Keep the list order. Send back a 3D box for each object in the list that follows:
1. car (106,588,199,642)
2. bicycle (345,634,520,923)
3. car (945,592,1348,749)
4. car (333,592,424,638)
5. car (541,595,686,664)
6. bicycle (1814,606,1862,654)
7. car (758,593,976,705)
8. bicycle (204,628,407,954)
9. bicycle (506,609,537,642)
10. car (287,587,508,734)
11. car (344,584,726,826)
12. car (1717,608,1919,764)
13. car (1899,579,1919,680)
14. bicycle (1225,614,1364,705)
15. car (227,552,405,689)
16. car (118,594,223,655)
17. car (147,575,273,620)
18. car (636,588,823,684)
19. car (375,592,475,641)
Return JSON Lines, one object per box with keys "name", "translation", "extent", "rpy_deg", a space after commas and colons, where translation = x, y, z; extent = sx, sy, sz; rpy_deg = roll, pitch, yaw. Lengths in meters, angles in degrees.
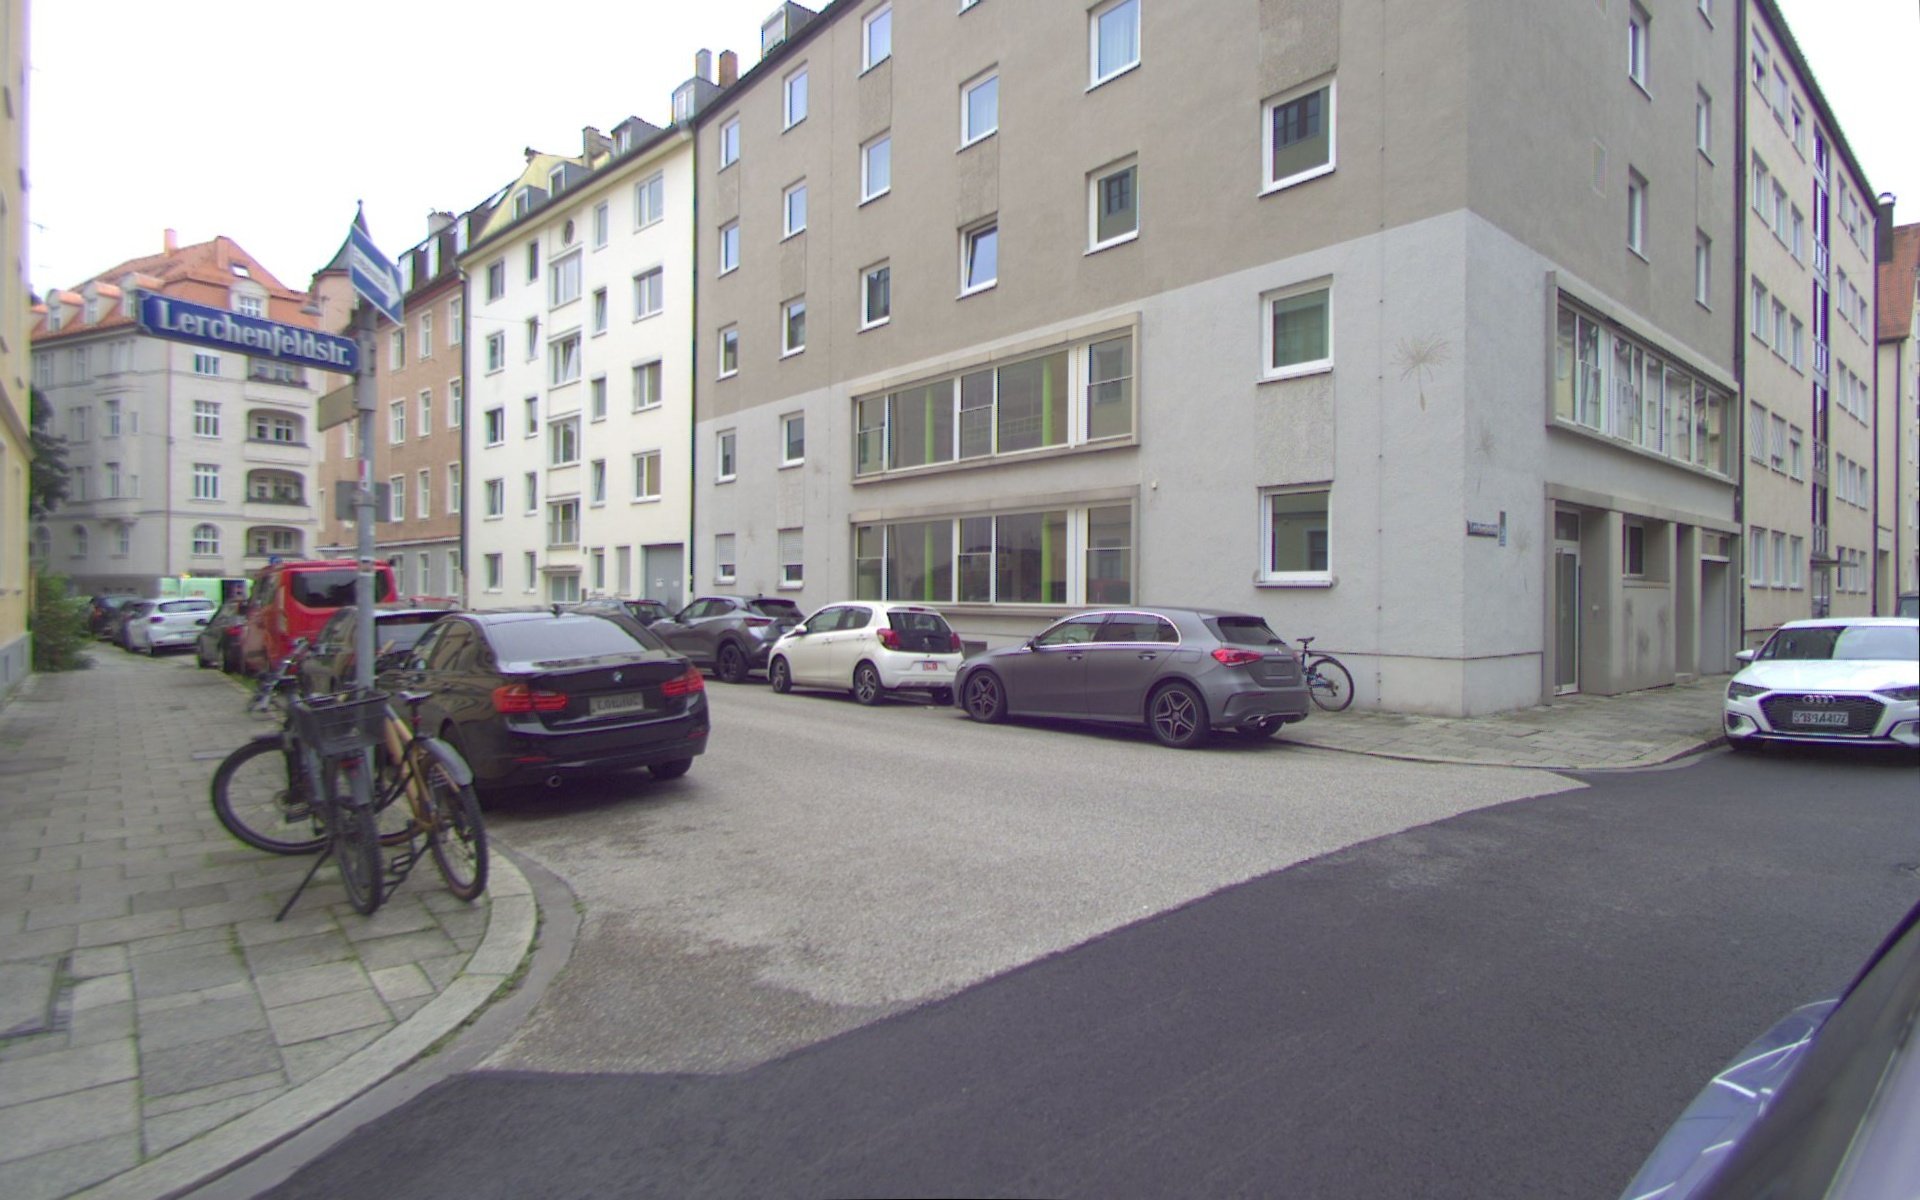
{"name": "car", "translation": [-24.945, 0.429, 31.206], "extent": [4.024, 1.507, 1.735], "rpy_deg": [0, 2, 44]}
{"name": "bicycle", "translation": [-2.735, 0.802, 5.159], "extent": [0.367, 1.153, 1.716], "rpy_deg": [3, 0, -41]}
{"name": "car", "translation": [1.974, 0.671, 11.622], "extent": [1.966, 1.417, 4.208], "rpy_deg": [3, -1, -43]}
{"name": "car", "translation": [-20.567, 0.533, 35.753], "extent": [3.871, 1.534, 1.708], "rpy_deg": [0, -2, 43]}
{"name": "car", "translation": [-7.832, 0.635, 22.747], "extent": [3.662, 1.436, 1.542], "rpy_deg": [0, -2, 43]}
{"name": "bicycle", "translation": [22.515, 0.761, 25.953], "extent": [1.730, 1.119, 0.656], "rpy_deg": [-1, 4, -42]}
{"name": "car", "translation": [-1.489, 0.697, 15.306], "extent": [1.539, 1.454, 3.350], "rpy_deg": [6, -4, -41]}
{"name": "bicycle", "translation": [-3.180, 0.781, 4.842], "extent": [0.496, 1.189, 1.811], "rpy_deg": [3, 0, -42]}
{"name": "bicycle", "translation": [-15.334, 0.882, 35.375], "extent": [0.457, 1.130, 1.799], "rpy_deg": [0, 0, -41]}
{"name": "car", "translation": [-7.250, 0.633, 12.853], "extent": [1.682, 1.512, 3.981], "rpy_deg": [-3, 2, -40]}
{"name": "car", "translation": [-3.764, 0.636, 8.512], "extent": [1.682, 1.512, 4.218], "rpy_deg": [-1, 1, -42]}
{"name": "car", "translation": [9.933, 0.808, 11.123], "extent": [3.883, 1.426, 1.821], "rpy_deg": [0, -1, -41]}
{"name": "car", "translation": [20.989, 0.567, 21.084], "extent": [4.269, 2.001, 1.752], "rpy_deg": [0, -2, -43]}
{"name": "bicycle", "translation": [4.490, 0.766, 13.694], "extent": [0.457, 1.130, 1.799], "rpy_deg": [0, 0, -41]}
{"name": "car", "translation": [-11.408, 0.283, 17.776], "extent": [1.876, 2.077, 4.547], "rpy_deg": [-3, 2, -42]}
{"name": "car", "translation": [-21.722, 0.620, 27.793], "extent": [4.024, 1.507, 1.735], "rpy_deg": [0, 2, 44]}
{"name": "car", "translation": [-45.271, -0.179, 61.235], "extent": [1.993, 2.577, 5.898], "rpy_deg": [-2, 0, 44]}
{"name": "car", "translation": [-4.367, 0.638, 18.912], "extent": [3.663, 1.547, 1.541], "rpy_deg": [2, -4, 44]}
{"name": "car", "translation": [-16.990, 0.524, 32.094], "extent": [3.662, 1.436, 1.708], "rpy_deg": [0, -2, 43]}
